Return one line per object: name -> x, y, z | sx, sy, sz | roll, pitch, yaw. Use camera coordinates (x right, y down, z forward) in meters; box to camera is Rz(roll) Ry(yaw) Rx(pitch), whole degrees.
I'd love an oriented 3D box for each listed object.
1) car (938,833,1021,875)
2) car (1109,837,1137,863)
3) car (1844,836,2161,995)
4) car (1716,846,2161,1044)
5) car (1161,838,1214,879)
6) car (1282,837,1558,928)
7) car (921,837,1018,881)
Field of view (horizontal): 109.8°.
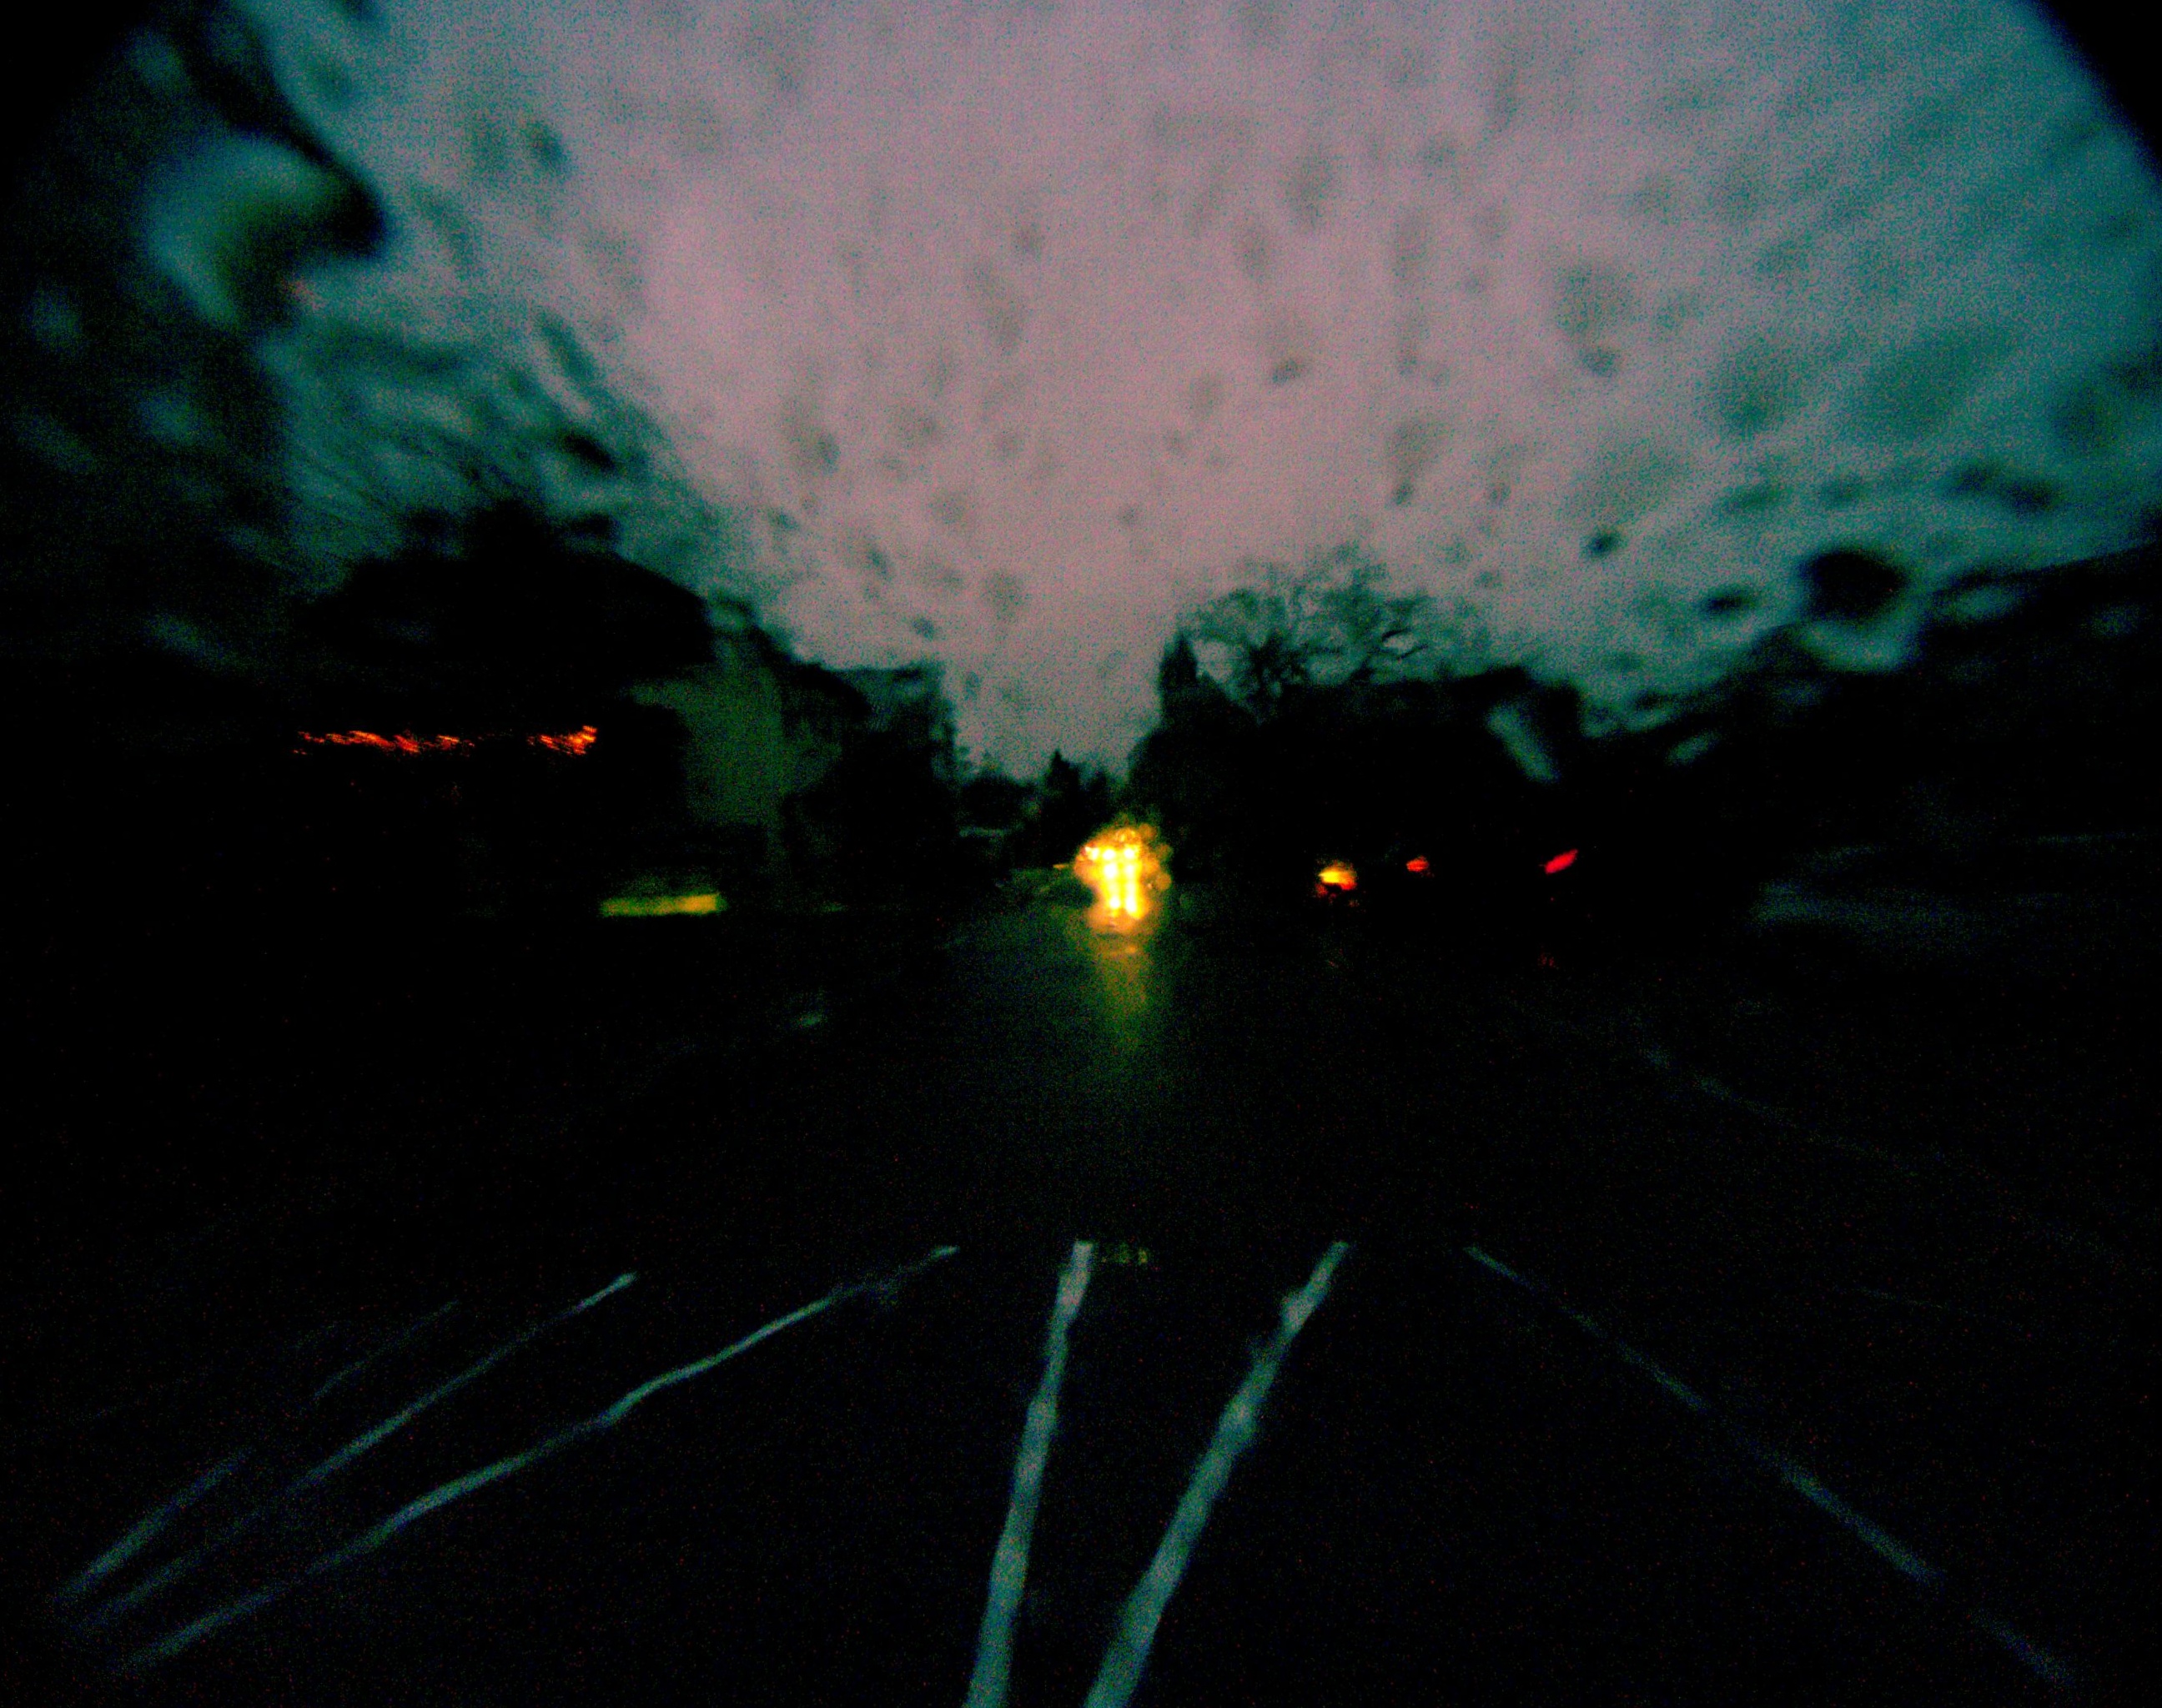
car -> -5.122, -0.026, 38.884 | 3.998, 2.002, 1.999 | -1, 1, -4
car -> 3.254, -0.325, 59.982 | 1.998, 2.002, 3.999 | -1, 1, 1
car -> 10.927, 0.565, 7.707 | 2.002, 1.464, 4.047 | -2, 1, -24
car -> 8.563, 0.663, 6.608 | 2.002, 1.417, 4.228 | -2, 1, -24
car -> 4.532, 0.141, 32.845 | 1.998, 1.619, 4.001 | -1, 1, 4
car -> 6.438, 0.505, 14.818 | 4.478, 1.570, 1.999 | -1, 1, -1
car -> -4.807, 0.212, 33.268 | 3.998, 1.783, 1.999 | -1, 1, -4
